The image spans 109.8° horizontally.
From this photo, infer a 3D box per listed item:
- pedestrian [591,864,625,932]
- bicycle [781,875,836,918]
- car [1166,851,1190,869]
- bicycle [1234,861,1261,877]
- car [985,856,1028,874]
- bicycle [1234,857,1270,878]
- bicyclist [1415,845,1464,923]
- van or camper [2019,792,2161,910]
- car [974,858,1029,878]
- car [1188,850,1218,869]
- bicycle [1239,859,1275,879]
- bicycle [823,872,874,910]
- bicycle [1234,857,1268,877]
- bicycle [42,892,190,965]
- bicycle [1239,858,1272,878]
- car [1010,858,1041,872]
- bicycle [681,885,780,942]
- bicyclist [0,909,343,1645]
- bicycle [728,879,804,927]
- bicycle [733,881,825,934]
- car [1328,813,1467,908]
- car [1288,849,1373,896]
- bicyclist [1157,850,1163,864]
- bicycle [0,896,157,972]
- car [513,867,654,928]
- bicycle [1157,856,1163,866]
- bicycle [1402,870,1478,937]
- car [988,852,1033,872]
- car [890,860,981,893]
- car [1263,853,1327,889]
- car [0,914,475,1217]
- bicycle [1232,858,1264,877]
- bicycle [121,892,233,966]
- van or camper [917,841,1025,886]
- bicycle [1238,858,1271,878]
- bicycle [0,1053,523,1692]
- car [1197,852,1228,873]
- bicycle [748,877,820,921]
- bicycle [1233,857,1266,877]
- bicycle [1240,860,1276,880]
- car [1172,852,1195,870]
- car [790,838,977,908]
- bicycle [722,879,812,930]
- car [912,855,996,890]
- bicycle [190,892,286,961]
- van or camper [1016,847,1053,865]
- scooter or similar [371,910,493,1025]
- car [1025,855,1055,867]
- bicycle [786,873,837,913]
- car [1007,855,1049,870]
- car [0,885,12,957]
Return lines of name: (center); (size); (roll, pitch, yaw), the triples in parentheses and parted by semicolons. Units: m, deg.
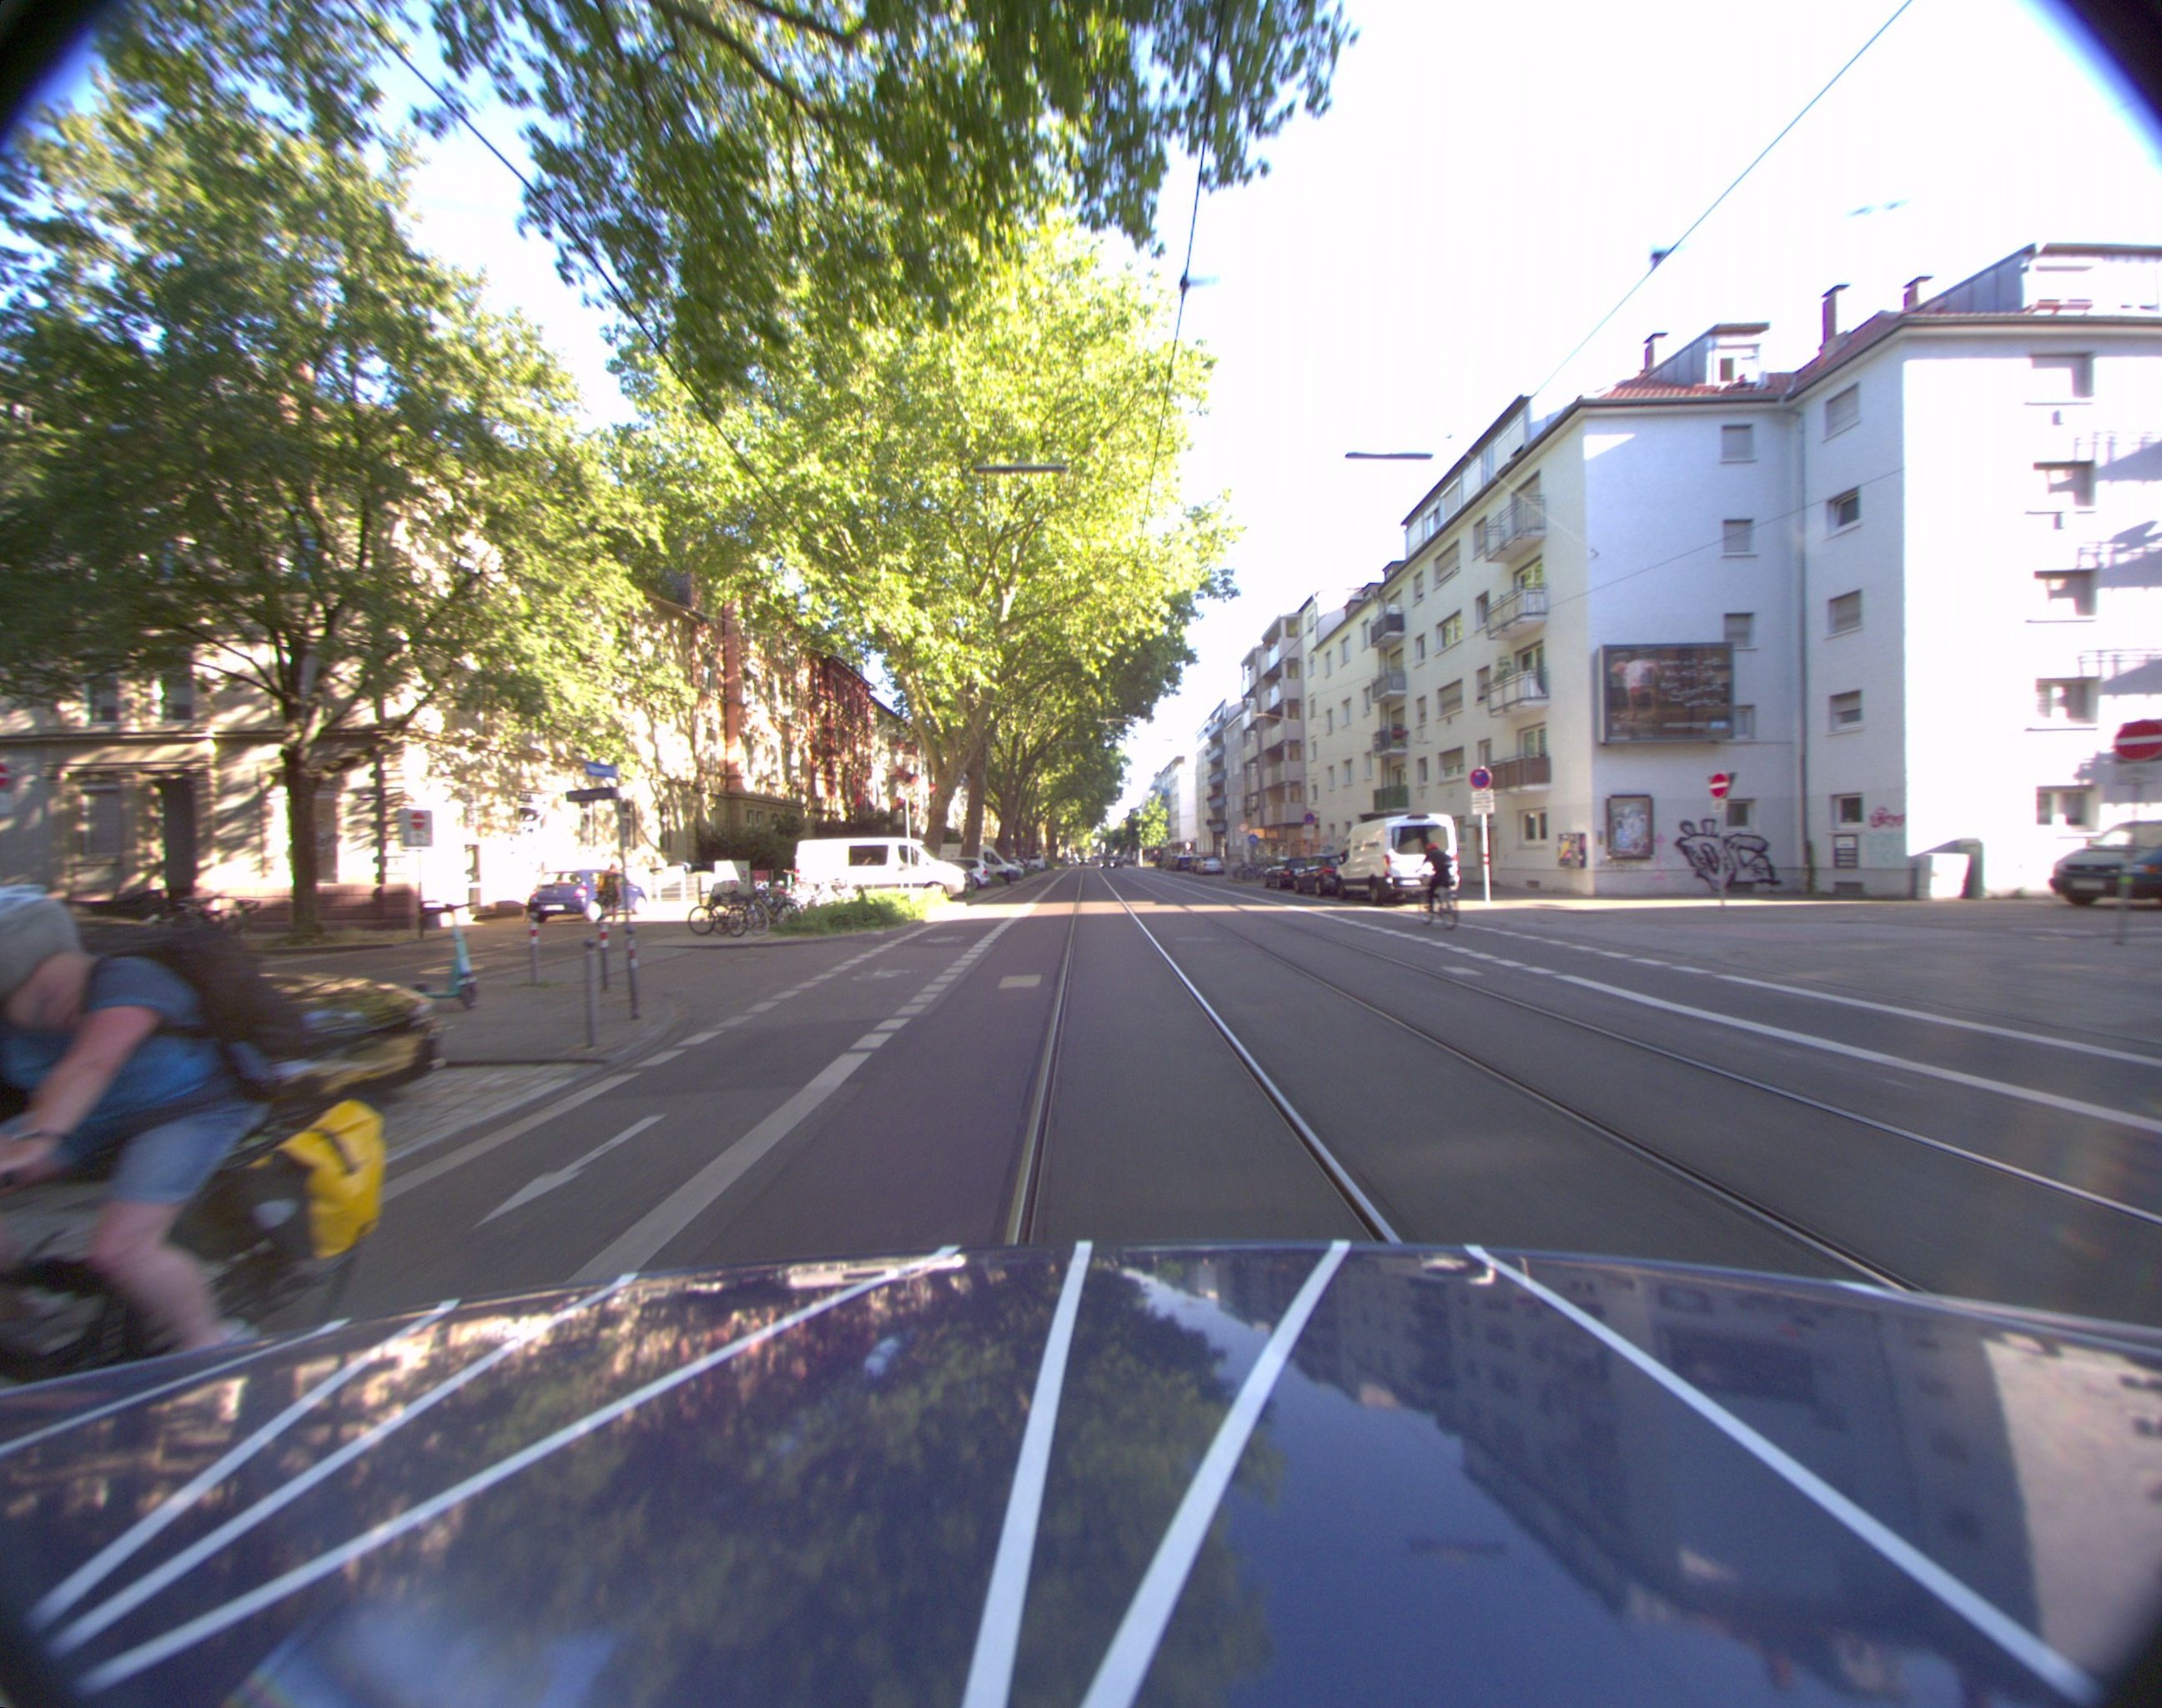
pedestrian: (-11.996, 1.098, 19.301); (0.594, 1.642, 0.707); (-2, 1, -25)
bicycle: (-7.857, 1.197, 21.854); (2.043, 1.172, 0.414); (-1, 2, 38)
car: (10.125, 0.572, 79.758); (1.784, 1.728, 4.489); (-3, 0, -2)
bicycle: (10.415, 0.946, 47.603); (1.624, 0.911, 0.401); (-3, 1, -16)
car: (-6.615, 0.968, 67.624); (3.618, 1.486, 1.660); (-1, 0, -1)
bicycle: (10.204, 0.805, 45.358); (1.972, 1.112, 0.425); (-3, 1, 7)
bicyclist: (6.992, 0.567, 14.846); (0.584, 1.473, 0.807); (0, 1, 0)
van or camper: (23.876, -0.096, 16.218); (5.114, 2.373, 2.022); (-1, 1, 2)
car: (-5.943, 1.025, 57.299); (3.963, 1.471, 1.688); (0, 1, 0)
car: (10.204, 0.433, 63.814); (1.798, 1.482, 4.240); (-1, 0, -1)
bicycle: (10.046, 0.862, 43.387); (1.897, 1.032, 0.402); (-3, 1, 7)
bicycle: (-7.454, 1.167, 24.270); (2.043, 1.172, 0.414); (-1, 2, 38)
bicycle: (10.242, 0.801, 45.845); (1.965, 1.112, 0.440); (-3, 1, 7)
bicycle: (-20.999, 1.578, 16.612); (0.523, 1.310, 2.007); (-3, 3, 0)
bicycle: (10.141, 0.813, 44.172); (1.792, 1.112, 0.425); (-3, 1, 7)
car: (-6.494, 1.331, 89.099); (3.572, 1.522, 1.677); (-1, 1, -1)
bicycle: (-7.701, 1.308, 16.715); (2.045, 1.172, 0.413); (-2, 1, 9)
bicyclist: (-2.718, 0.973, 1.921); (0.615, 1.543, 0.935); (-6, 0, 1)
bicycle: (-8.047, 1.251, 19.375); (2.044, 1.172, 0.414); (-1, 2, 22)
bicycle: (-7.078, 1.263, 17.827); (2.045, 1.172, 0.413); (-2, 1, 9)
car: (9.513, 0.170, 23.462); (2.069, 2.521, 5.667); (-1, 0, 2)
car: (9.341, 0.650, 28.781); (1.723, 1.622, 4.346); (-1, 0, -1)
bicyclist: (8.006, 0.282, 76.940); (0.510, 1.386, 0.709); (1, 1, 0)
bicycle: (-20.132, 1.559, 15.344); (0.507, 1.278, 2.044); (-2, 1, -4)
car: (-14.146, 1.176, 21.872); (1.737, 1.447, 3.569); (-3, 0, -3)
bicycle: (8.009, 0.675, 76.686); (0.418, 1.012, 1.947); (0, 0, 1)
bicycle: (7.002, 0.919, 14.941); (0.422, 1.144, 2.232); (0, 1, 0)
car: (-6.465, 0.766, 69.991); (4.004, 1.734, 1.805); (-1, 0, 1)
car: (-6.871, 1.049, 36.172); (3.964, 1.470, 1.796); (-1, 0, 0)
car: (9.499, 0.726, 34.123); (1.722, 1.448, 4.572); (-1, 0, 2)
car: (-6.833, 1.255, 5.063); (4.106, 1.483, 1.831); (-1, 0, 1)
bicycle: (10.338, 0.826, 47.014); (1.897, 1.112, 0.402); (-3, 1, 7)
bicycle: (-18.775, 1.519, 15.843); (0.508, 1.278, 1.904); (-2, 3, -18)
van or camper: (-6.491, 0.547, 45.287); (6.048, 2.476, 2.107); (-1, 1, 0)
bicycle: (10.192, 0.809, 44.672); (1.822, 1.112, 0.425); (-3, 1, 7)
bicycle: (-2.678, 1.345, 1.906); (0.596, 0.998, 2.511); (-4, 0, 1)
car: (10.132, 0.612, 58.914); (1.694, 1.482, 4.728); (-1, 0, 1)
bicycle: (-8.114, 1.223, 20.747); (2.044, 1.172, 0.414); (-1, 2, 22)
bicycle: (10.271, 0.797, 46.384); (1.935, 1.112, 0.440); (-3, 1, 7)
bicycle: (9.986, 0.894, 42.821); (1.897, 1.032, 0.402); (-3, 1, 7)
car: (10.040, 0.689, 74.719); (1.660, 1.591, 4.202); (-3, 0, 0)
car: (-6.863, 0.661, 26.766); (6.005, 2.269, 2.006); (-1, 0, 2)
bicycle: (-7.598, 1.231, 18.394); (2.045, 1.172, 0.413); (-2, 1, 9)
car: (-6.426, 0.935, 38.694); (3.965, 1.646, 1.795); (-1, 1, -2)
bicycle: (-18.324, 1.529, 16.572); (0.508, 1.249, 1.904); (-2, 3, -20)
van or camper: (-5.642, 0.241, 92.192); (4.388, 2.097, 1.838); (-1, 1, -3)
scooter or similar: (-7.418, 1.277, 8.686); (1.308, 1.248, 0.341); (-1, 1, 14)
car: (-5.127, 0.826, 95.835); (3.570, 1.431, 1.726); (-1, 1, 4)
bicycle: (-8.332, 1.172, 23.431); (2.043, 1.172, 0.414); (-1, 2, 38)
car: (-5.635, 0.888, 81.014); (4.206, 1.473, 1.911); (0, 0, 2)
car: (-26.133, 1.567, 16.292); (3.995, 1.590, 1.853); (-1, 3, 5)
